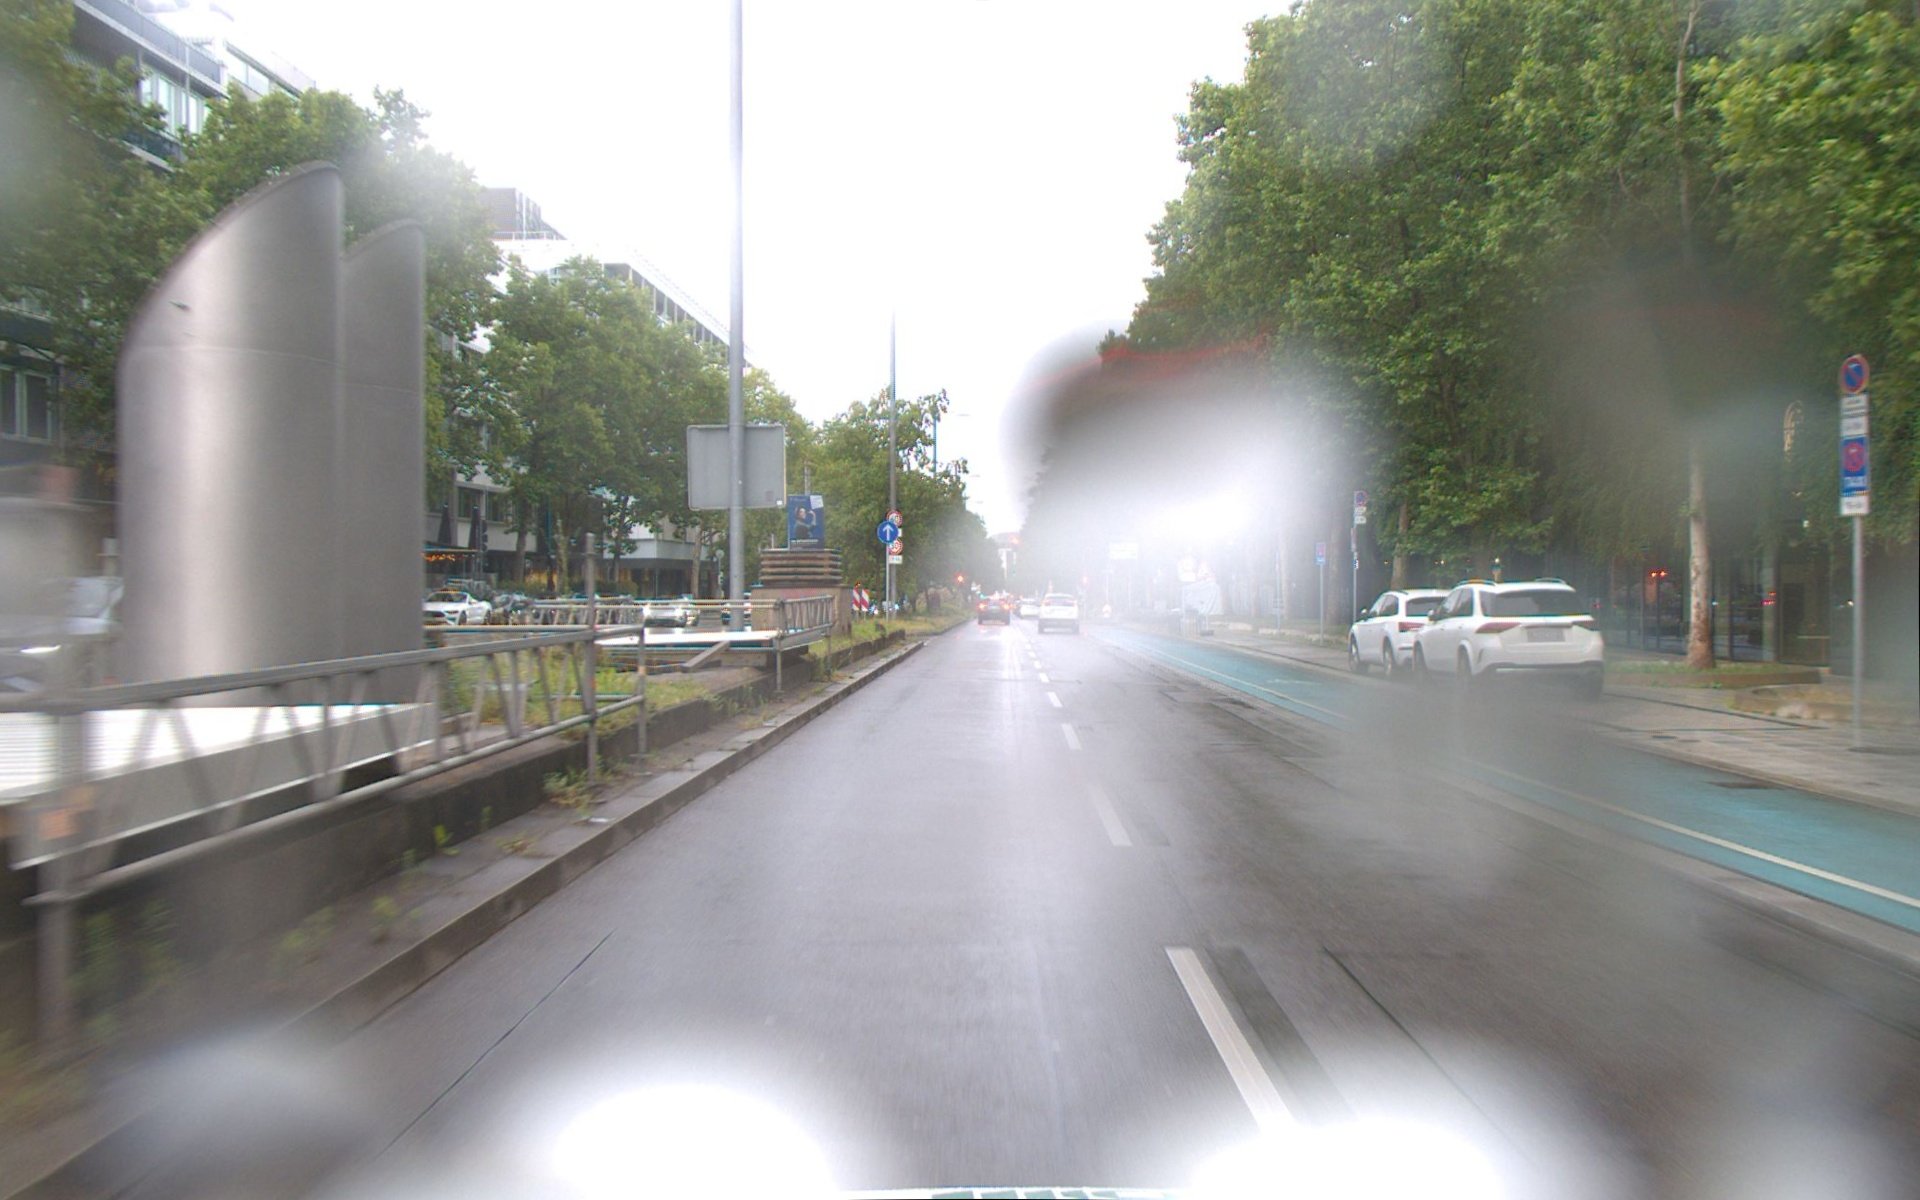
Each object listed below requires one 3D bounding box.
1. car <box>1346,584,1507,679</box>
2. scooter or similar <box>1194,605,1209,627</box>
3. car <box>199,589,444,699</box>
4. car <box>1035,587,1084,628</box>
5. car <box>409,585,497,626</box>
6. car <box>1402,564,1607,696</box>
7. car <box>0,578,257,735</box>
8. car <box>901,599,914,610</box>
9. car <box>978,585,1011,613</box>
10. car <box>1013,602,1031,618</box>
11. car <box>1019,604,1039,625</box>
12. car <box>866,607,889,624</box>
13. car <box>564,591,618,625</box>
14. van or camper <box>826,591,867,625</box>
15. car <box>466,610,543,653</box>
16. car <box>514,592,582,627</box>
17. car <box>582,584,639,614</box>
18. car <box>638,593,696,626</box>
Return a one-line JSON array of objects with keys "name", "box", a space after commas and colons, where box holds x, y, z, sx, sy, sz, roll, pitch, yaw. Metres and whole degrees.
[{"name": "car", "box": [8.833, 0.542, 31.707, 1.805, 1.661, 4.787, 1, 0, 1]}, {"name": "scooter or similar", "box": [13.735, 0.919, 94.050, 0.374, 1.249, 1.074, 0, 0, 37]}, {"name": "car", "box": [-10.006, 0.633, 26.337, 1.874, 1.579, 4.544, 1, 0, 4]}, {"name": "car", "box": [4.324, 0.299, 72.396, 1.952, 1.684, 4.889, 1, 0, 1]}, {"name": "car", "box": [-17.922, 0.165, 58.680, 1.527, 1.377, 4.683, 2, 1, 1]}, {"name": "car", "box": [8.493, 0.413, 26.268, 1.805, 1.870, 5.096, -1, 0, 3]}, {"name": "car", "box": [-10.190, 0.557, 19.397, 1.699, 1.601, 4.833, 1, 0, 2]}, {"name": "car", "box": [-6.751, 0.599, 213.097, 1.581, 1.418, 3.598, 1, 0, 1]}, {"name": "car", "box": [1.964, -0.060, 94.425, 1.879, 1.517, 4.001, 0, 0, 1]}, {"name": "car", "box": [5.634, 0.920, 150.516, 1.587, 1.398, 4.000, 1, 0, 1]}, {"name": "car", "box": [5.777, 1.170, 137.908, 1.587, 1.695, 4.000, 0, 0, 1]}, {"name": "car", "box": [-7.666, 1.433, 153.765, 1.805, 1.454, 3.644, 1, 1, 1]}, {"name": "car", "box": [-17.131, 0.349, 76.850, 1.658, 1.494, 3.460, 1, 0, 1]}, {"name": "van or camper", "box": [-6.632, 0.451, 97.037, 1.952, 1.947, 5.252, 1, 0, 1]}, {"name": "car", "box": [-17.476, 1.203, 63.644, 1.799, 1.534, 4.001, 1, 0, 1]}, {"name": "car", "box": [-17.455, 0.370, 70.236, 1.658, 1.434, 4.457, 1, 0, 1]}, {"name": "car", "box": [-17.172, -0.066, 81.365, 1.658, 1.434, 4.905, 1, 0, 1]}, {"name": "car", "box": [-13.476, 0.403, 76.279, 1.927, 1.434, 4.955, 1, 0, -2]}]
